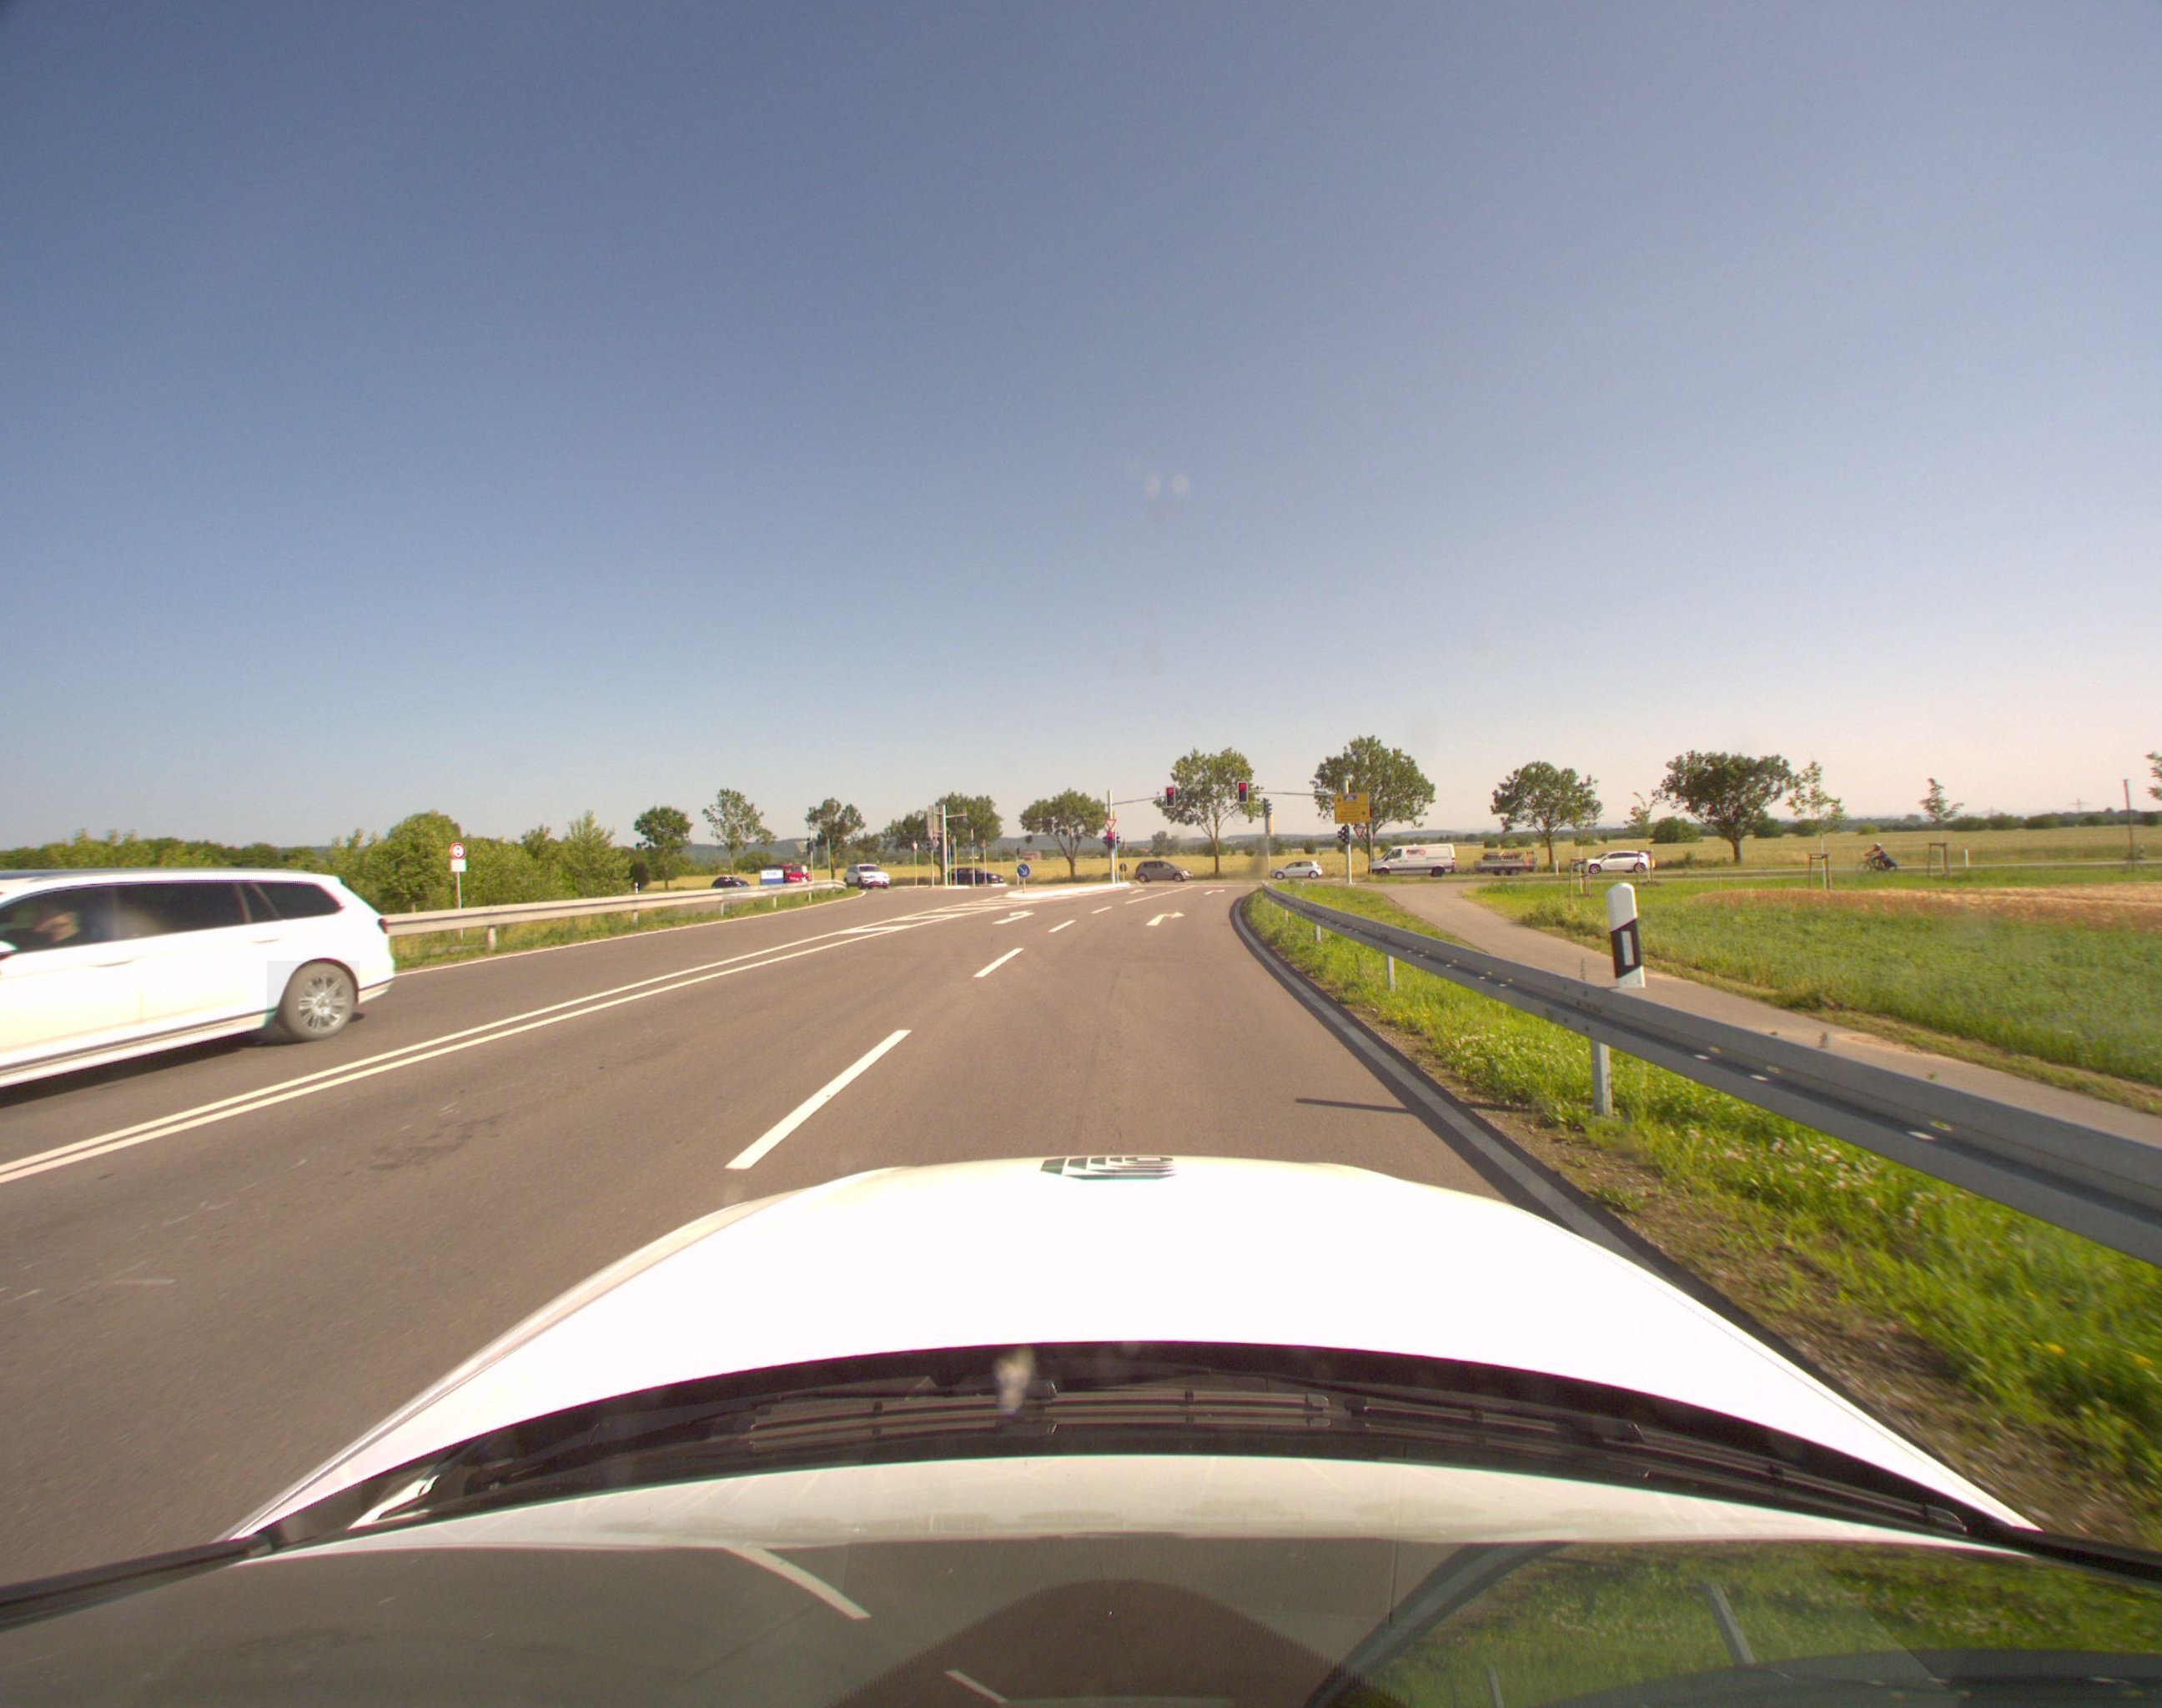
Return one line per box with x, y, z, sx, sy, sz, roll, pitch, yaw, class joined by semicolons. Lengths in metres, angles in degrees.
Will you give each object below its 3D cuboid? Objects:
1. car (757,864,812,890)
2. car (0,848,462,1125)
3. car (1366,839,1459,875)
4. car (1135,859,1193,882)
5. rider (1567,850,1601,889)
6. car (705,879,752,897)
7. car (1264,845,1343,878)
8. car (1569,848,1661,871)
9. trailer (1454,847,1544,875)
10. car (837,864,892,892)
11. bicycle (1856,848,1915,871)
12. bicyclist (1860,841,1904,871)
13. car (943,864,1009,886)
-22.826;1.746;62.631;4.863;1.940;1.850;-2;-2;41;car
-7.341;0.795;5.619;2.107;1.492;5.155;0;2;1;car
23.522;0.259;58.052;5.914;2.493;2.008;0;-1;14;car
6.029;1.184;58.911;3.927;1.668;1.770;0;-1;13;car
22.123;0.663;35.834;0.824;1.643;0.981;-3;1;-32;rider
-31.829;3.086;73.635;3.695;1.457;1.738;-3;0;21;car
17.522;0.601;64.390;5.854;2.577;2.400;0;-1;10;car
36.144;0.410;55.228;4.836;1.510;2.006;0;-1;11;car
28.982;0.479;56.672;5.222;1.753;1.961;-2;-1;14;trailer
-14.110;1.587;52.918;1.705;1.674;4.807;2;-4;-37;car
44.129;0.312;44.710;2.141;1.186;0.893;-1;-2;12;bicycle
43.995;0.112;44.734;1.270;1.601;1.169;-1;0;12;bicyclist
-8.146;1.665;63.290;4.637;1.519;1.930;-2;1;16;car
